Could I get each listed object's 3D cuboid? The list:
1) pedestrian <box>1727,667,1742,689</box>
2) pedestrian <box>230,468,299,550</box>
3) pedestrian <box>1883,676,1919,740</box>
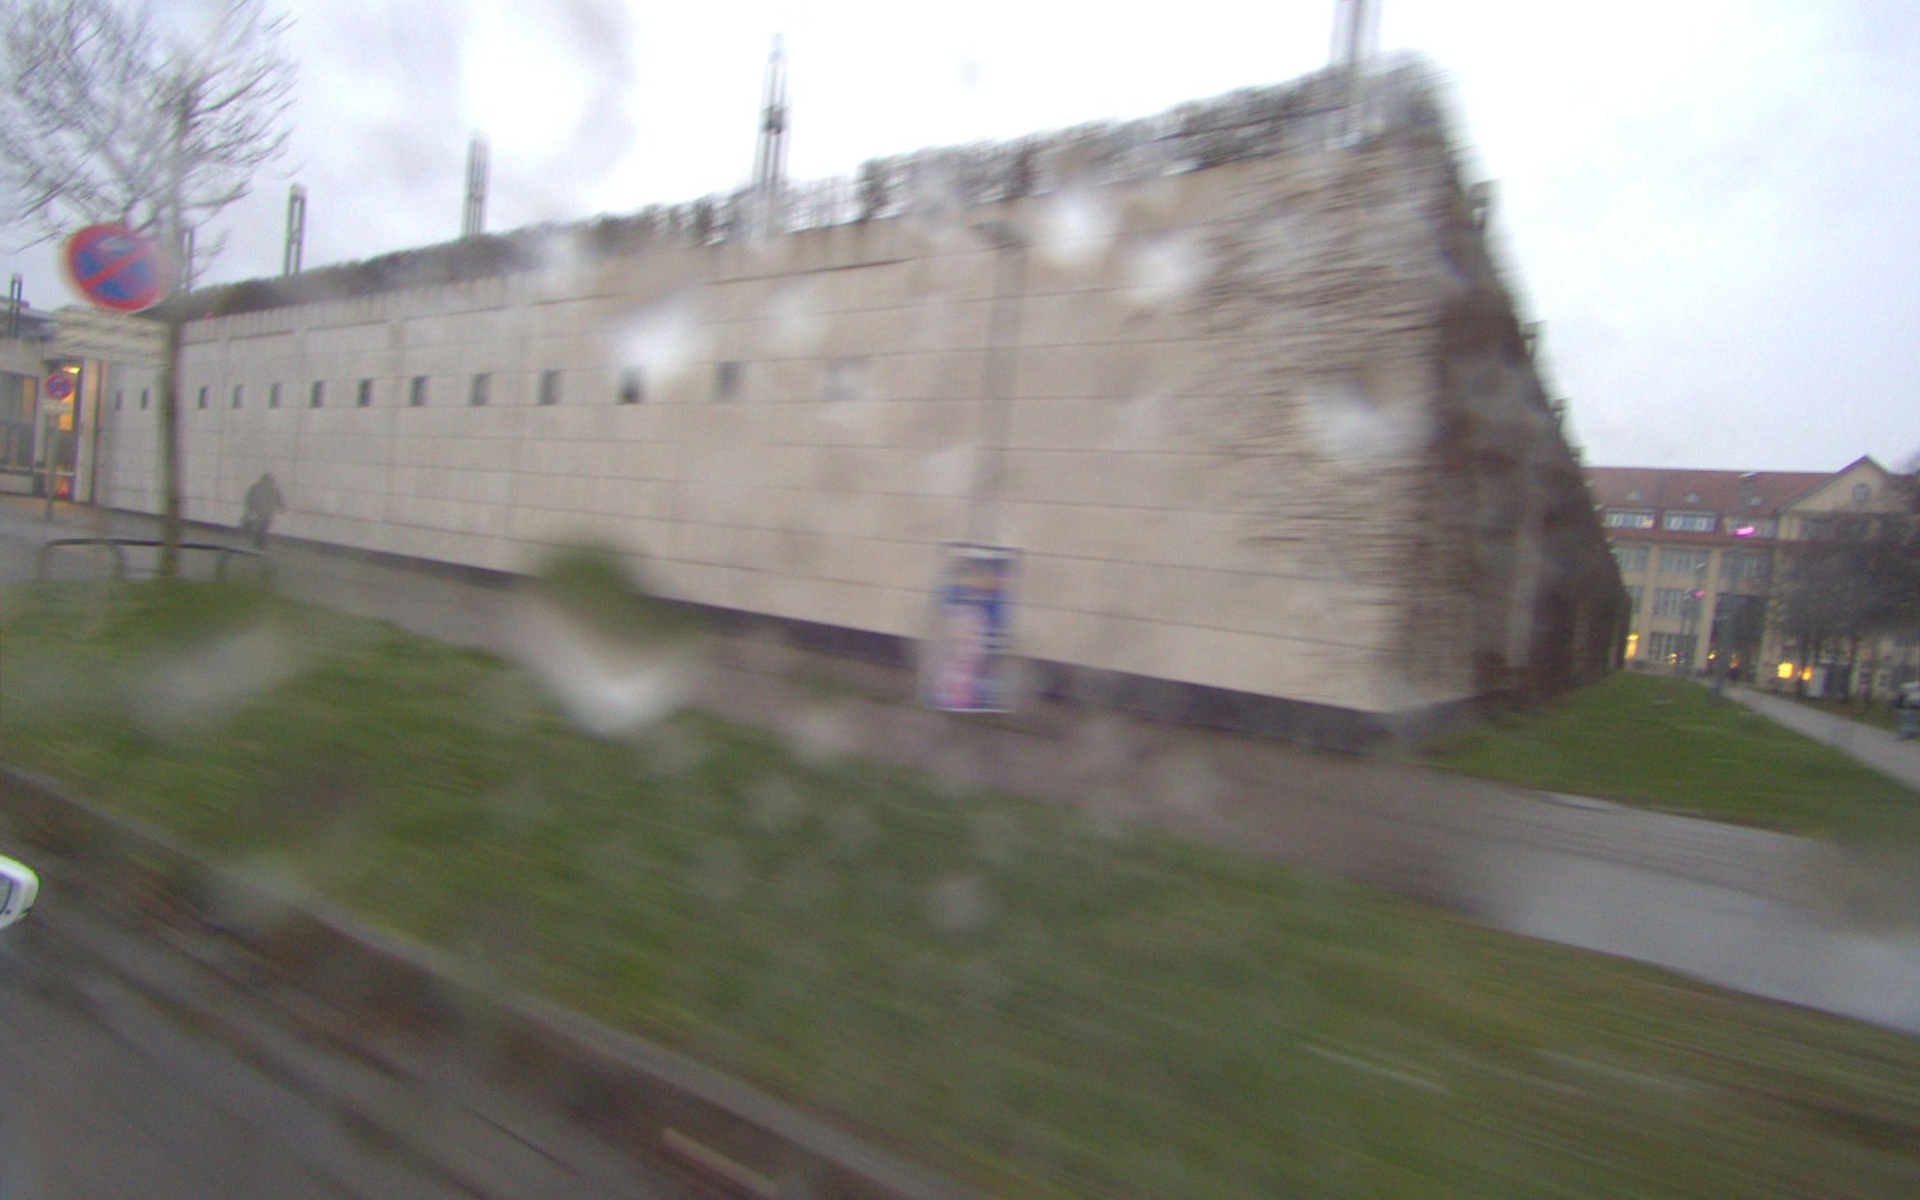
[{"bbox_3d":[61.006,6.134,79.261,0.722,1.658,0.710,8,3,36],"label":"pedestrian"},{"bbox_3d":[-14.986,-1.951,21.683,0.683,1.639,0.937,8,3,32],"label":"pedestrian"},{"bbox_3d":[26.447,3.001,28.106,0.722,1.658,0.710,8,3,37],"label":"pedestrian"}]
